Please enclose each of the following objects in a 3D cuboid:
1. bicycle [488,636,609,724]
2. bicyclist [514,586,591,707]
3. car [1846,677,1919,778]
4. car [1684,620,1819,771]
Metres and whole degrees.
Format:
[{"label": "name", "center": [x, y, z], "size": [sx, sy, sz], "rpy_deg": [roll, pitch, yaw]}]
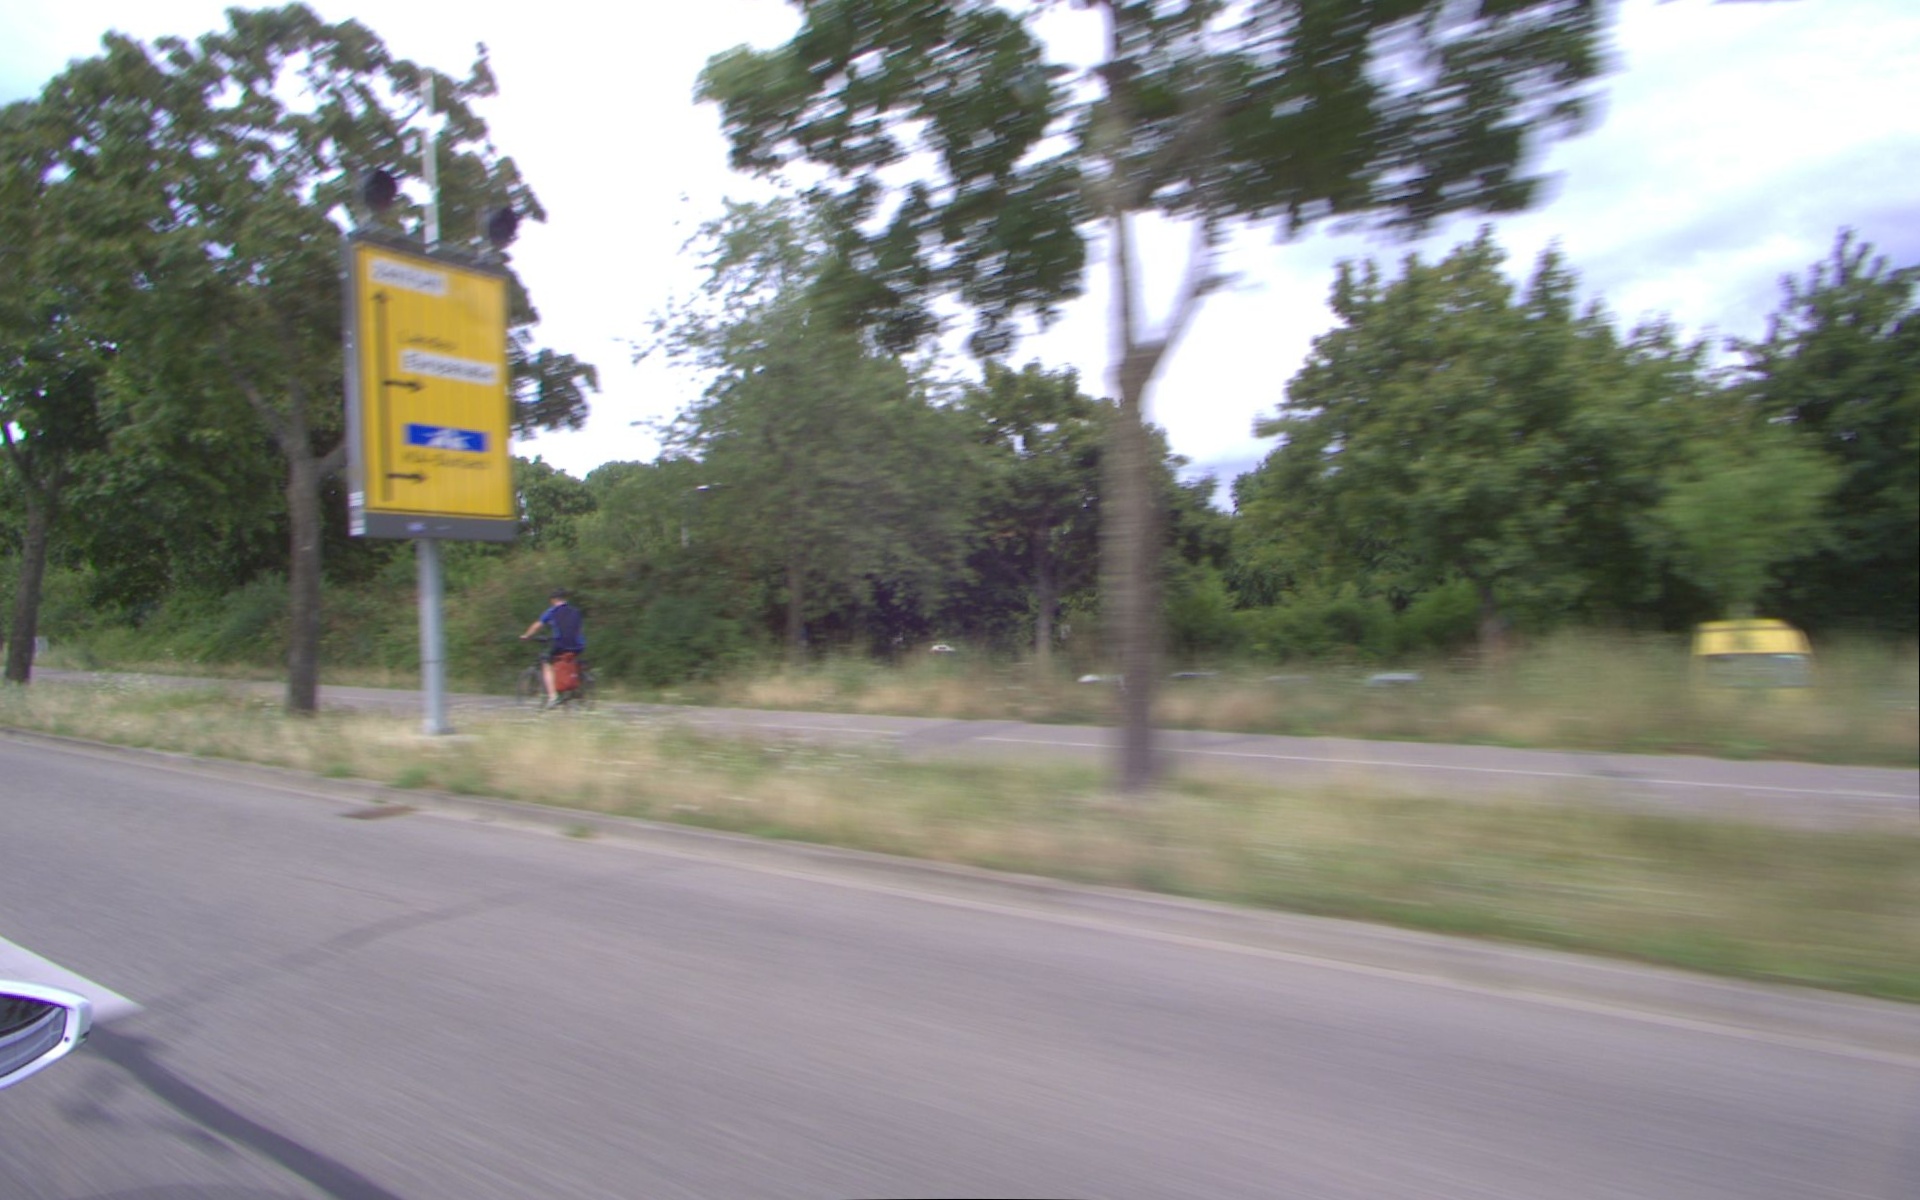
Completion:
[{"label": "bicycle", "center": [-5.923, 1.116, 14.381], "size": [1.954, 1.163, 0.572], "rpy_deg": [-1, 1, 32]}, {"label": "bicyclist", "center": [-5.838, 0.665, 14.345], "size": [0.864, 1.679, 0.651], "rpy_deg": [-1, -2, 32]}, {"label": "car", "center": [18.792, 2.415, 19.330], "size": [1.972, 1.528, 3.977], "rpy_deg": [-1, 0, 34]}, {"label": "car", "center": [16.177, 1.793, 20.677], "size": [1.900, 2.705, 4.518], "rpy_deg": [-1, 0, 35]}]
